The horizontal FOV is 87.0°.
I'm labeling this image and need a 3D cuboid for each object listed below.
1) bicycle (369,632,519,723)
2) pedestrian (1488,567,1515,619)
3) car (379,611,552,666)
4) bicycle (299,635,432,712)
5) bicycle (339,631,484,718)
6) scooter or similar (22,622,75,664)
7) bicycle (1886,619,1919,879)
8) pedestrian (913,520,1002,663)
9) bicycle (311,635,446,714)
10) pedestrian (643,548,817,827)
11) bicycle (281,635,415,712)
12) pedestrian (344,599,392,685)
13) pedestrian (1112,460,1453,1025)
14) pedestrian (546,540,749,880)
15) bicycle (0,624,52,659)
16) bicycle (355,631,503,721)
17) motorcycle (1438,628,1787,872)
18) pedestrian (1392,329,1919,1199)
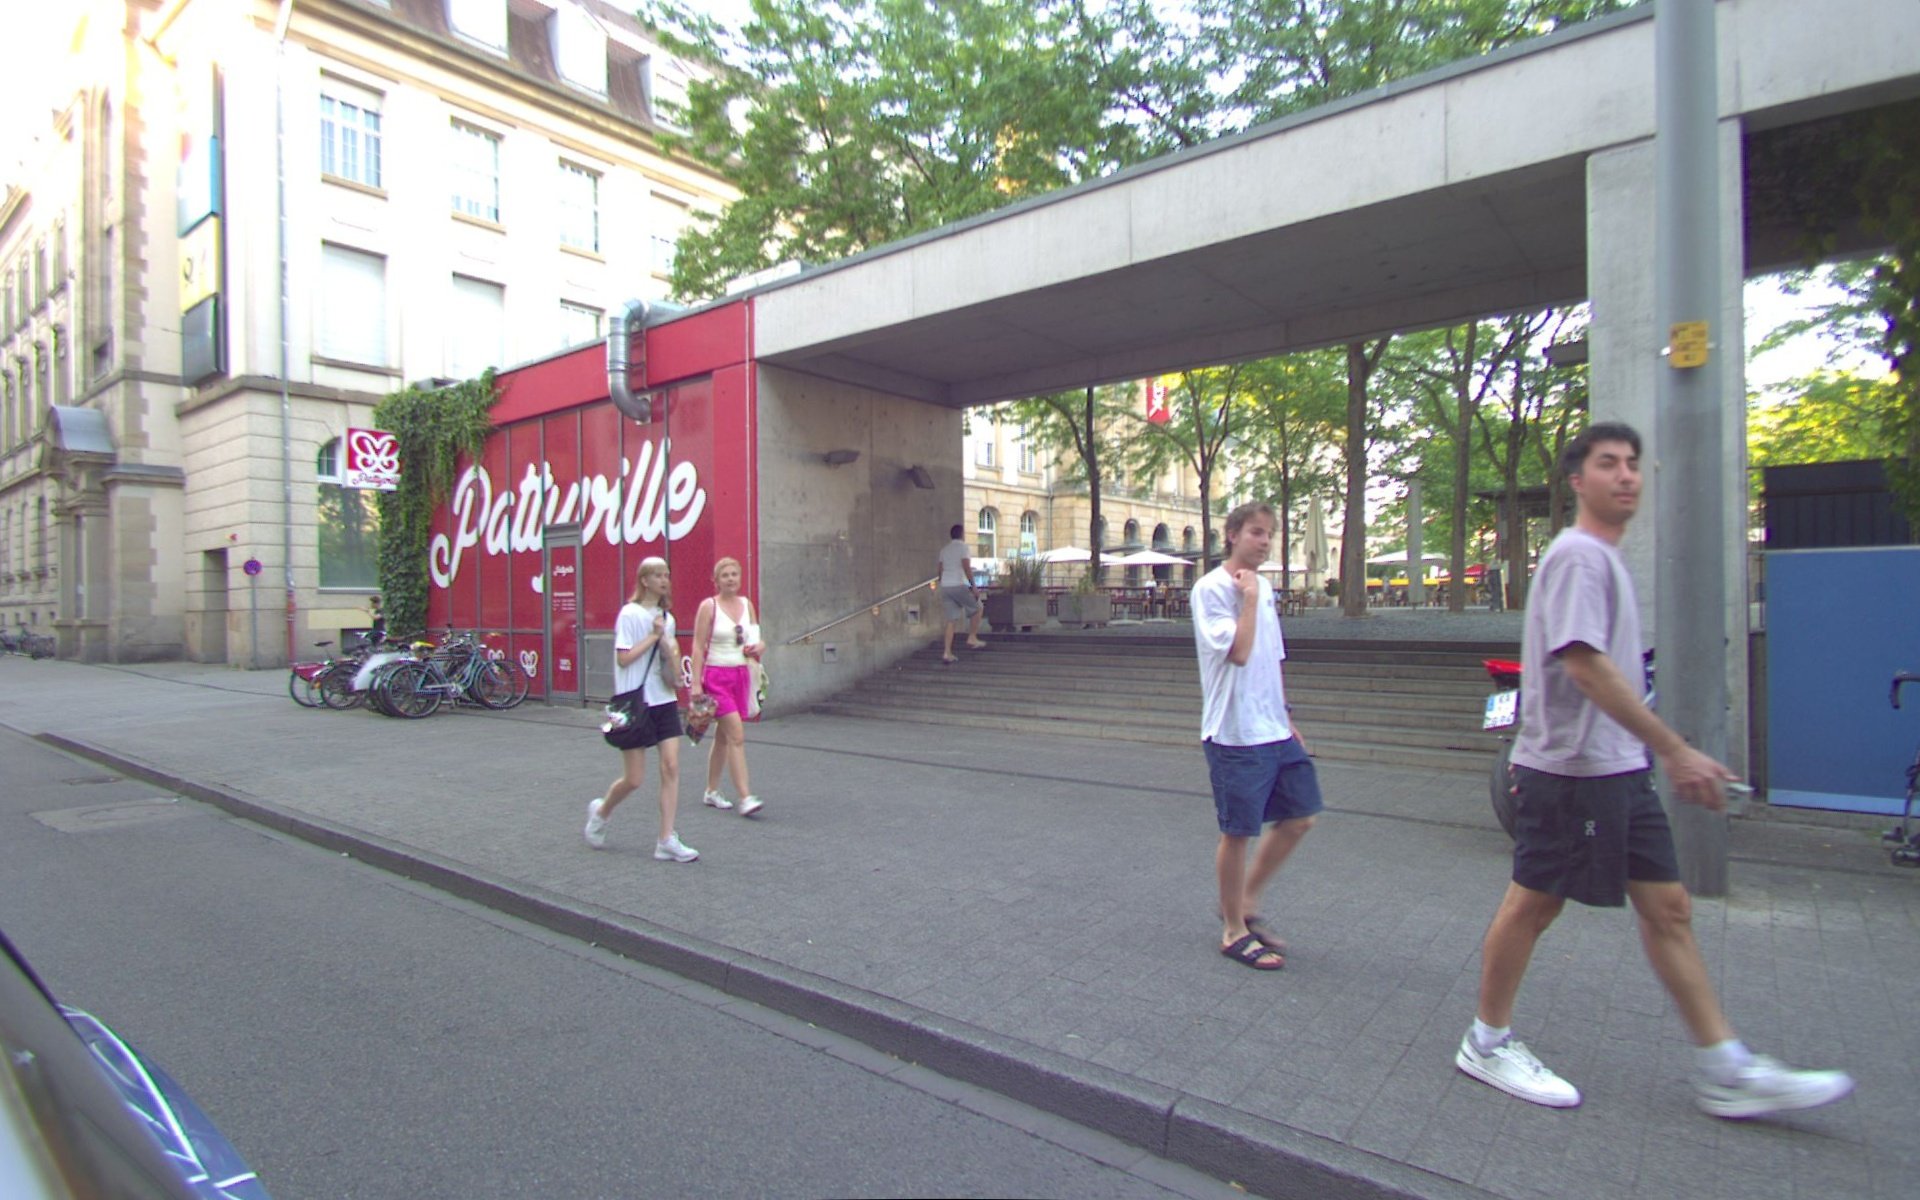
[{"bbox_3d":[-7.119,1.035,14.043,0.500,1.116,1.775,-2,0,42],"label":"bicycle"},{"bbox_3d":[24.738,-0.308,46.241,0.802,2.348,0.741,0,-1,-28],"label":"pedestrian"},{"bbox_3d":[-13.567,1.012,27.942,1.748,1.381,3.967,-2,-1,38],"label":"car"},{"bbox_3d":[-9.529,1.146,16.270,0.499,1.116,1.777,-2,0,38],"label":"bicycle"},{"bbox_3d":[-7.964,1.054,14.750,0.500,1.116,1.775,-2,0,42],"label":"bicycle"},{"bbox_3d":[-28.857,1.352,32.054,0.494,1.242,1.126,-2,0,27],"label":"scooter or similar"},{"bbox_3d":[4.620,0.682,4.556,0.499,1.116,1.777,-2,1,38],"label":"bicycle"},{"bbox_3d":[-0.027,-0.107,13.061,0.719,1.767,0.836,-2,-1,43],"label":"pedestrian"},{"bbox_3d":[-9.114,1.137,15.932,0.499,1.116,1.777,-2,0,38],"label":"bicycle"},{"bbox_3d":[-1.578,0.550,6.951,0.845,1.763,0.745,-2,0,39],"label":"pedestrian"},{"bbox_3d":[-9.876,1.157,16.389,0.499,1.116,1.777,-2,0,39],"label":"bicycle"},{"bbox_3d":[-13.176,0.924,22.541,0.629,1.870,0.614,-2,0,12],"label":"pedestrian"},{"bbox_3d":[1.229,0.464,3.878,1.007,1.826,0.734,-2,0,39],"label":"pedestrian"},{"bbox_3d":[-1.803,0.579,5.816,0.984,1.763,0.643,-2,-1,39],"label":"pedestrian"},{"bbox_3d":[-32.027,1.421,34.148,0.616,1.069,1.928,-1,3,24],"label":"bicycle"},{"bbox_3d":[-7.486,1.043,14.336,0.500,1.116,1.775,-2,0,42],"label":"bicycle"},{"bbox_3d":[3.588,0.738,5.556,1.775,1.072,0.767,-2,0,-25],"label":"motorcycle"},{"bbox_3d":[1.843,0.398,2.702,1.049,1.908,0.736,-2,0,40],"label":"pedestrian"}]
